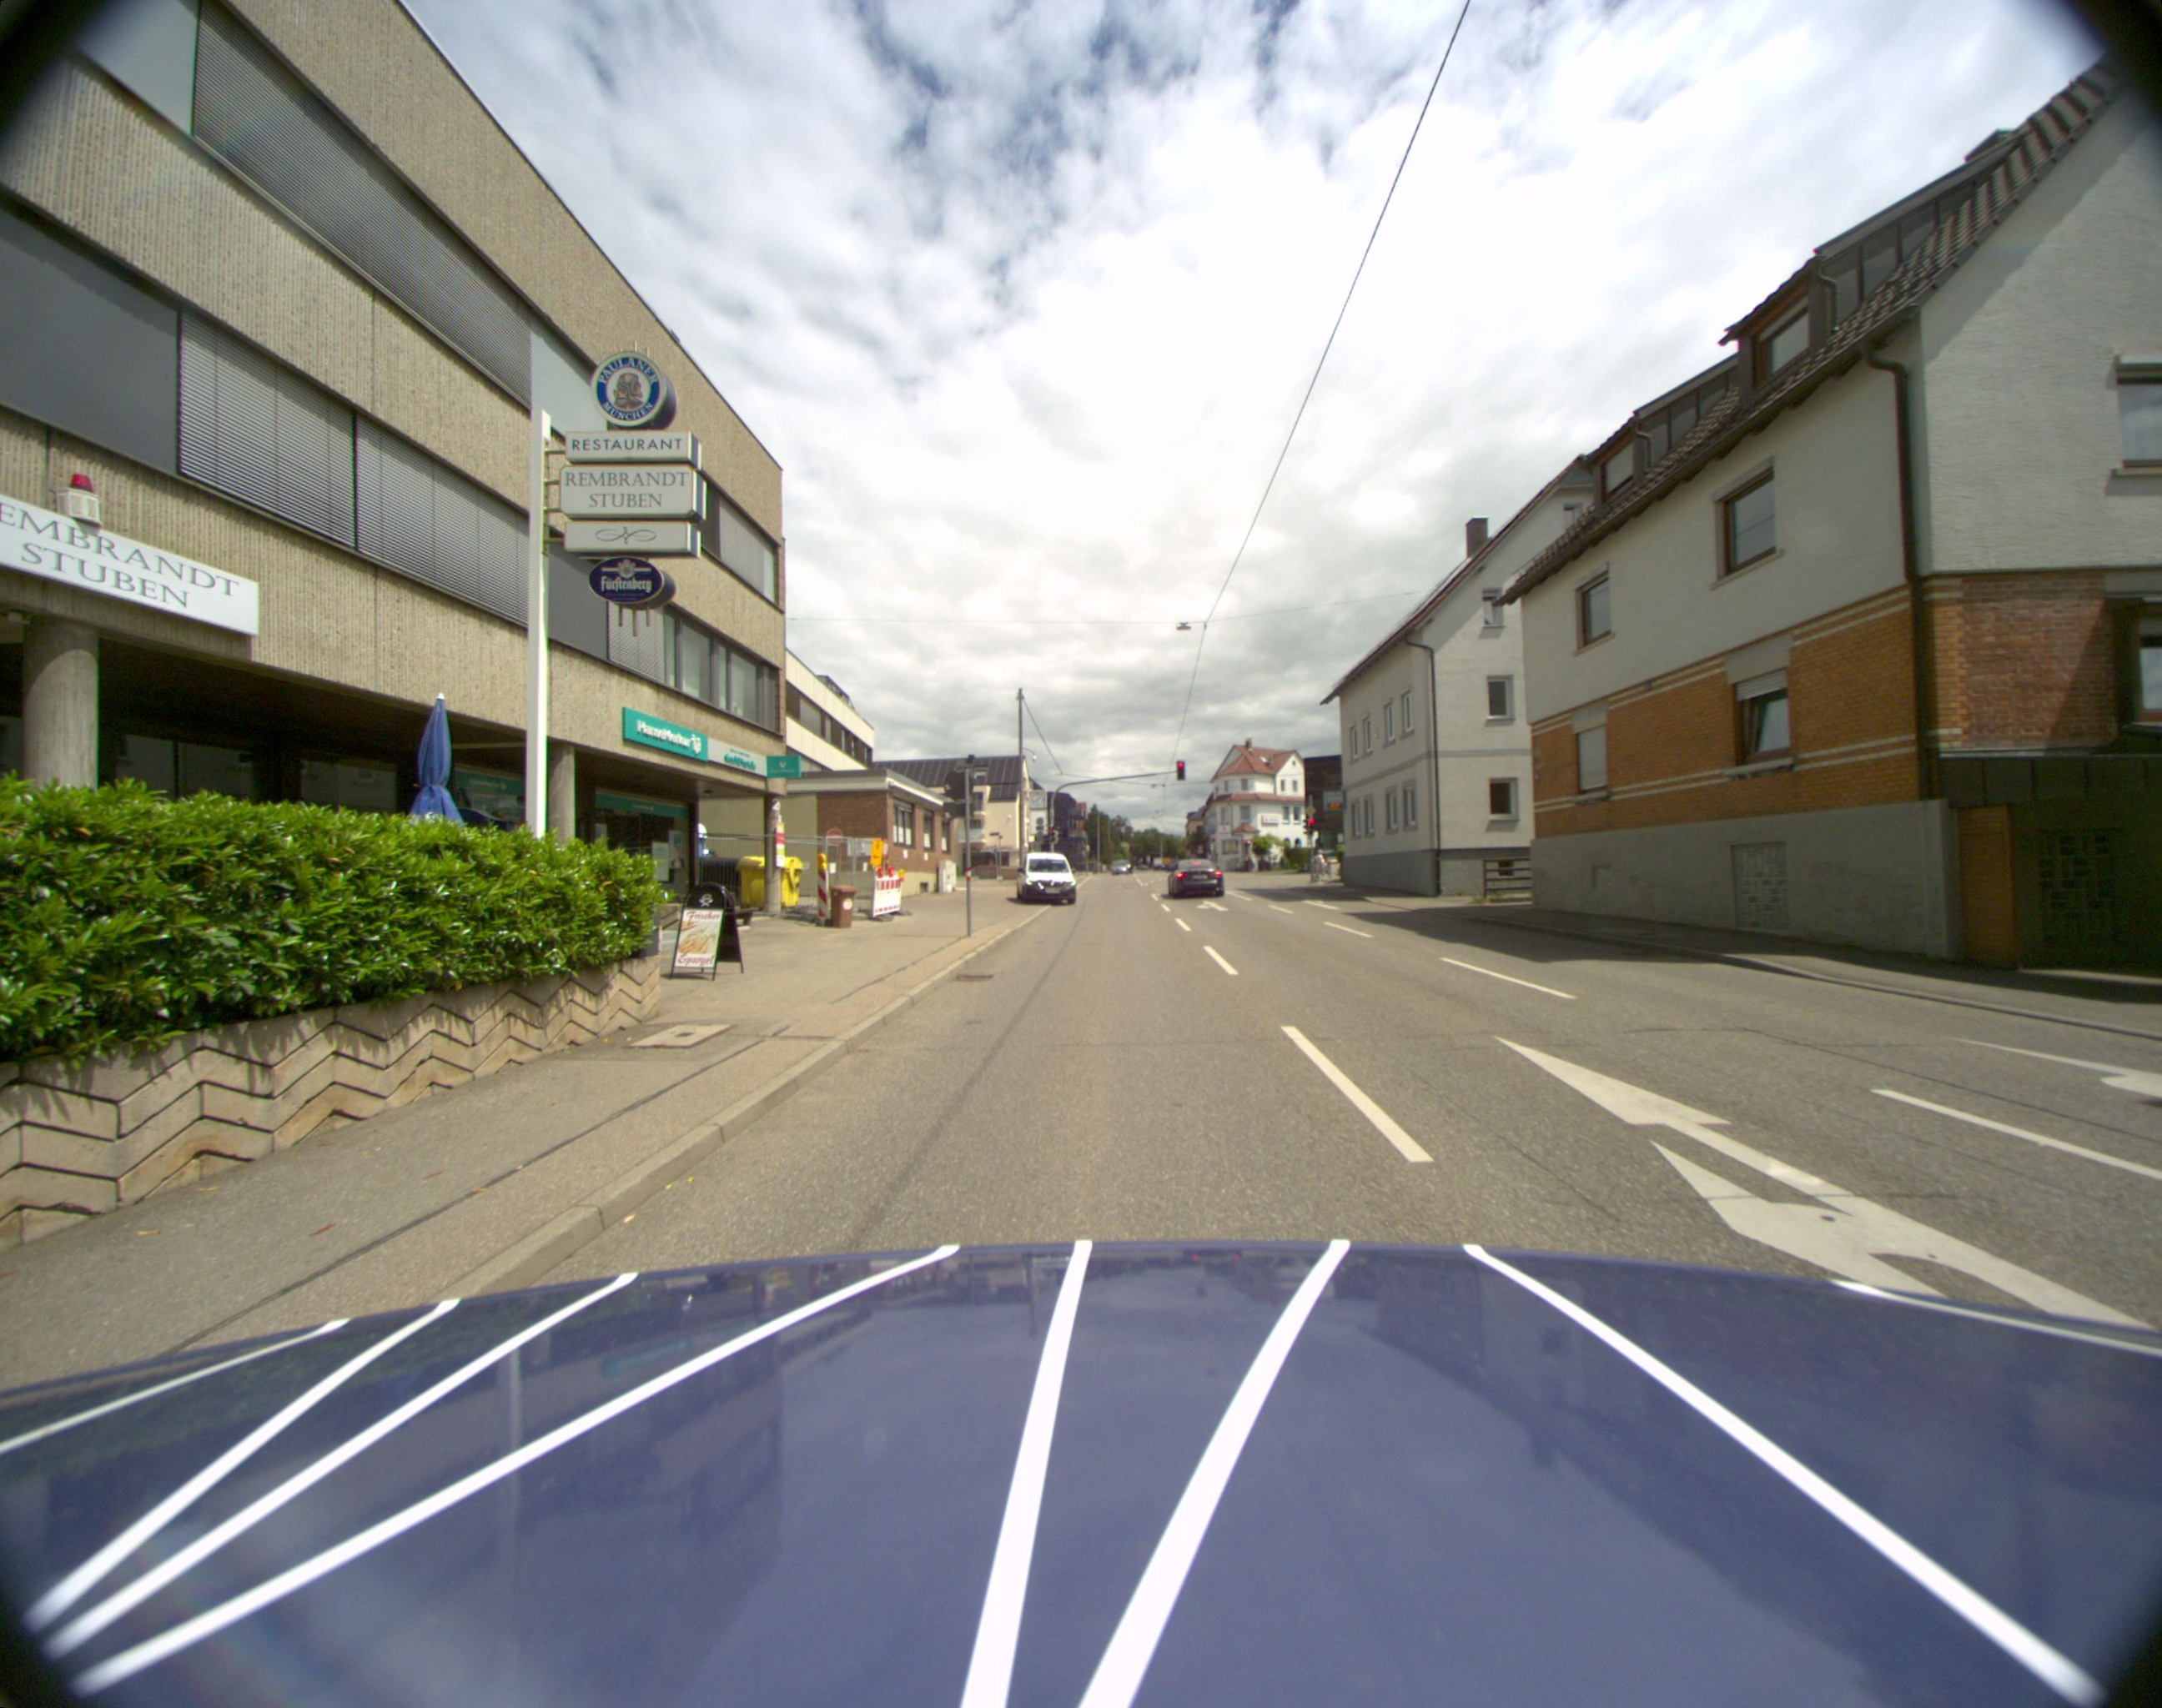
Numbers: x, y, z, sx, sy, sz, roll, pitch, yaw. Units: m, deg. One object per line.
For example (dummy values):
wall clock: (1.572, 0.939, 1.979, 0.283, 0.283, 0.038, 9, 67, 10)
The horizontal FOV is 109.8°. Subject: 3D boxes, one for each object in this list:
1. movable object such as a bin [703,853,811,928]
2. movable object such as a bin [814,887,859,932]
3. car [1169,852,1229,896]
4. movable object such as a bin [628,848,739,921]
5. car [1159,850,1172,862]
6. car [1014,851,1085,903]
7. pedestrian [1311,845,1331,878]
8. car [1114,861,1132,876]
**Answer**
movable object such as a bin: (-7.976, 0.868, 18.810, 1.930, 1.674, 1.381, -3, 1, 3)
movable object such as a bin: (-5.382, 1.209, 16.717, 0.789, 0.909, 0.470, 3, 1, 1)
car: (4.422, 0.746, 29.019, 1.795, 1.477, 4.001, -3, -1, 3)
movable object such as a bin: (-9.939, 0.733, 19.097, 1.930, 1.674, 1.381, -3, 1, 3)
car: (14.578, 0.268, 131.071, 1.998, 2.002, 4.000, -2, 0, 3)
car: (-1.245, 0.811, 27.601, 1.895, 1.717, 4.289, 1, -1, -11)
pedestrian: (12.106, 0.387, 38.306, 0.586, 1.599, 0.680, -4, 1, -22)
car: (4.493, 1.491, 80.760, 1.795, 1.477, 4.001, -3, -1, 3)
